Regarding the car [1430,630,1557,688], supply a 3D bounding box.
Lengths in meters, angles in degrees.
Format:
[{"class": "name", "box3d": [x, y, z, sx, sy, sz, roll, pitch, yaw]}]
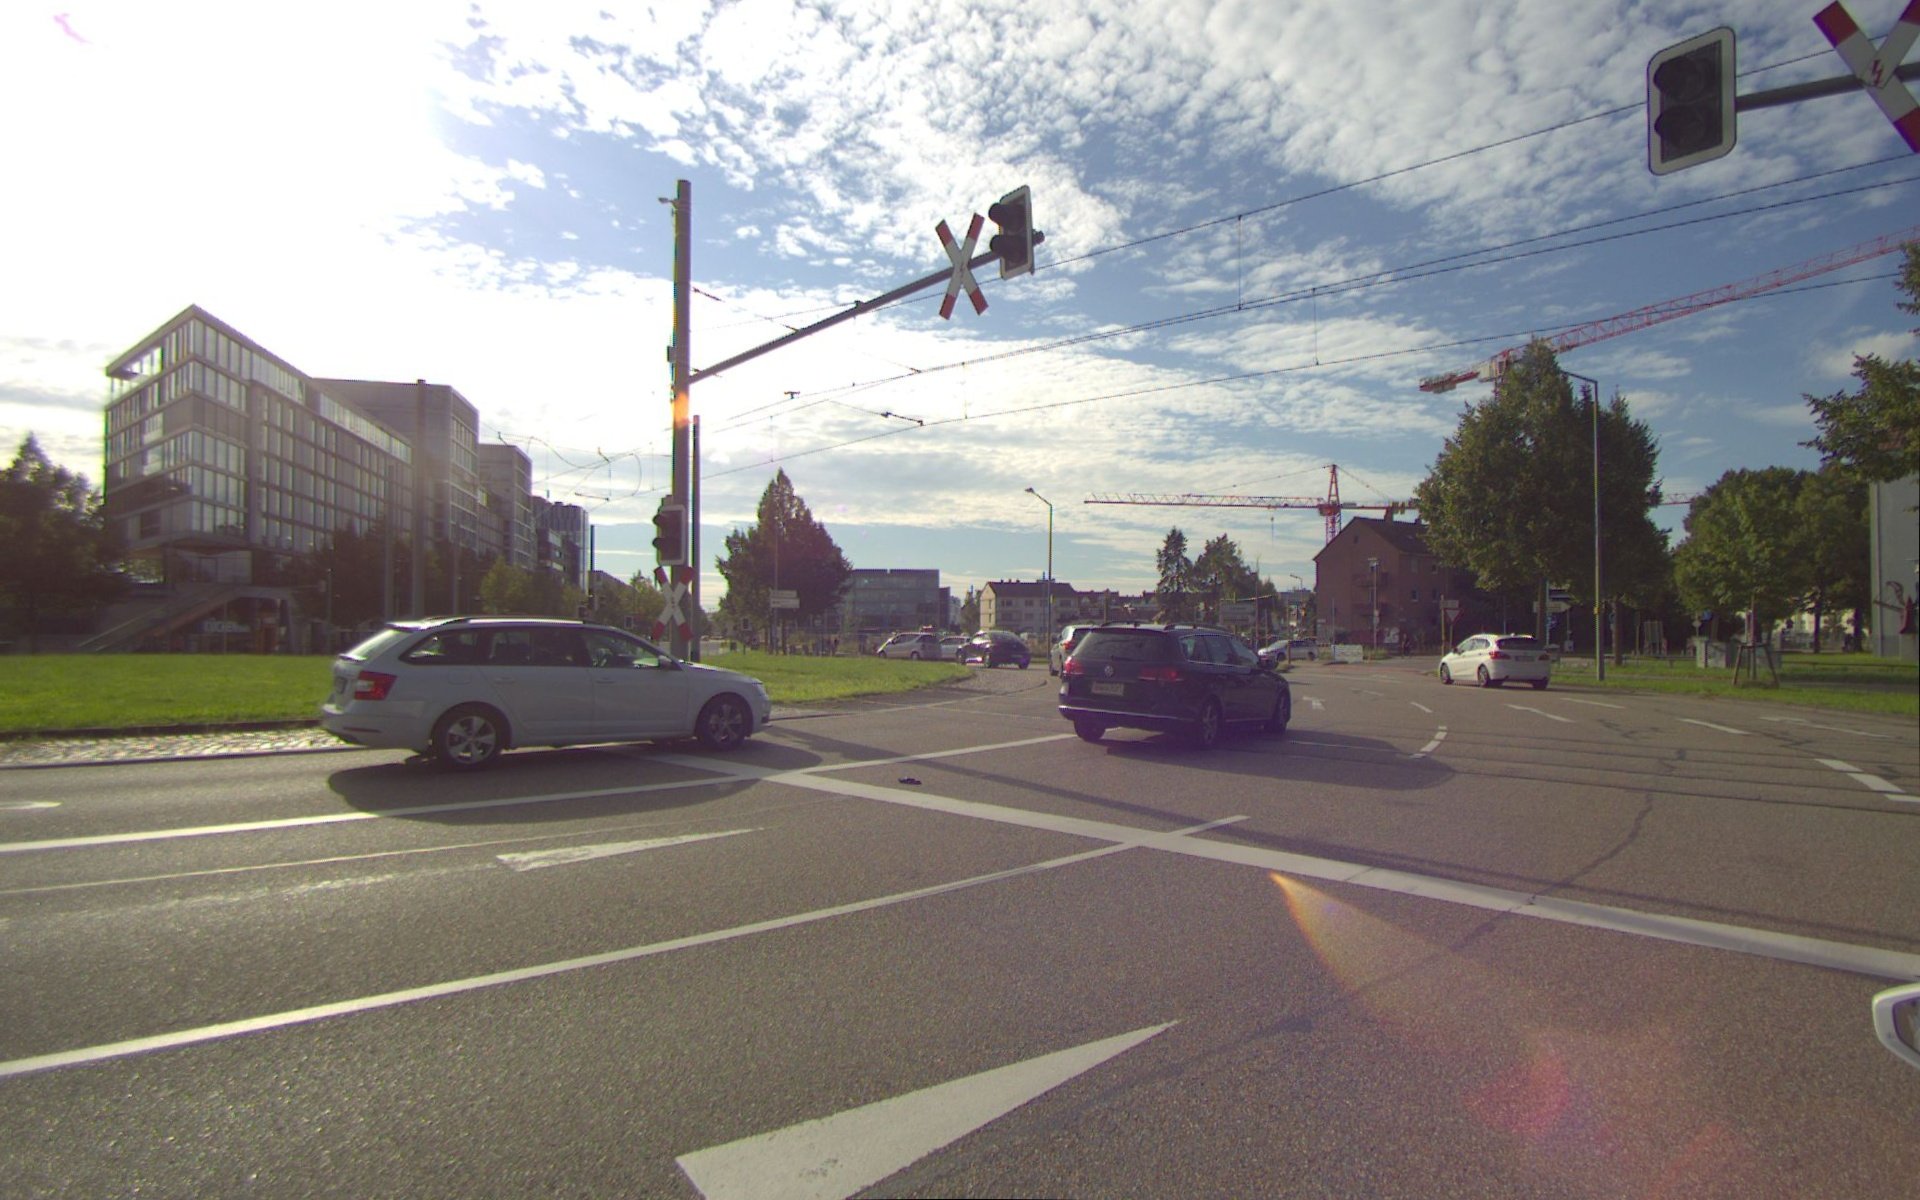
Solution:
[{"class": "car", "box3d": [16.196, 1.736, 30.767, 1.819, 1.593, 4.457, 1, -1, 5]}]

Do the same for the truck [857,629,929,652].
[{"class": "truck", "box3d": [-7.586, 4.621, 114.153, 7.729, 2.601, 3.065, 1, -2, -15]}]

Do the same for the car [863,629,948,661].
[{"class": "car", "box3d": [-2.873, 2.327, 52.323, 4.389, 1.497, 1.847, 0, -2, 41]}]

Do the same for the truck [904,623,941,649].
[{"class": "truck", "box3d": [-4.843, 4.601, 127.818, 2.772, 3.249, 7.288, 1, -2, -18]}]

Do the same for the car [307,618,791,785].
[{"class": "car", "box3d": [-4.335, 0.938, 10.985, 4.596, 1.464, 1.837, 1, -1, -37]}]

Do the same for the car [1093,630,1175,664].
[{"class": "car", "box3d": [10.574, 2.855, 60.993, 4.597, 1.928, 1.891, 2, -1, -24]}]

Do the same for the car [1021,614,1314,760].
[{"class": "car", "box3d": [2.980, 1.041, 13.484, 1.968, 1.587, 4.826, 0, -2, 37]}]

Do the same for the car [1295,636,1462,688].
[{"class": "car", "box3d": [13.407, 1.949, 32.344, 4.596, 1.450, 1.891, 0, -2, 44]}]

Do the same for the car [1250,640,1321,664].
[{"class": "car", "box3d": [21.291, 3.385, 65.751, 4.484, 1.471, 1.811, 1, -2, -27]}]

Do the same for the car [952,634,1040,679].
[{"class": "car", "box3d": [1.382, 2.222, 40.329, 1.972, 1.561, 3.977, 3, -1, -23]}]

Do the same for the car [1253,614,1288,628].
[{"class": "car", "box3d": [37.810, 2.536, 122.217, 3.919, 1.639, 1.775, 0, -2, 13]}]

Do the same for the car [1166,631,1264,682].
[{"class": "car", "box3d": [8.180, 1.772, 32.701, 1.820, 1.464, 4.714, 1, -1, -2]}]

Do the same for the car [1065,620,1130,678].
[{"class": "car", "box3d": [4.077, 1.441, 30.337, 1.738, 1.593, 4.070, 1, -1, 5]}]
